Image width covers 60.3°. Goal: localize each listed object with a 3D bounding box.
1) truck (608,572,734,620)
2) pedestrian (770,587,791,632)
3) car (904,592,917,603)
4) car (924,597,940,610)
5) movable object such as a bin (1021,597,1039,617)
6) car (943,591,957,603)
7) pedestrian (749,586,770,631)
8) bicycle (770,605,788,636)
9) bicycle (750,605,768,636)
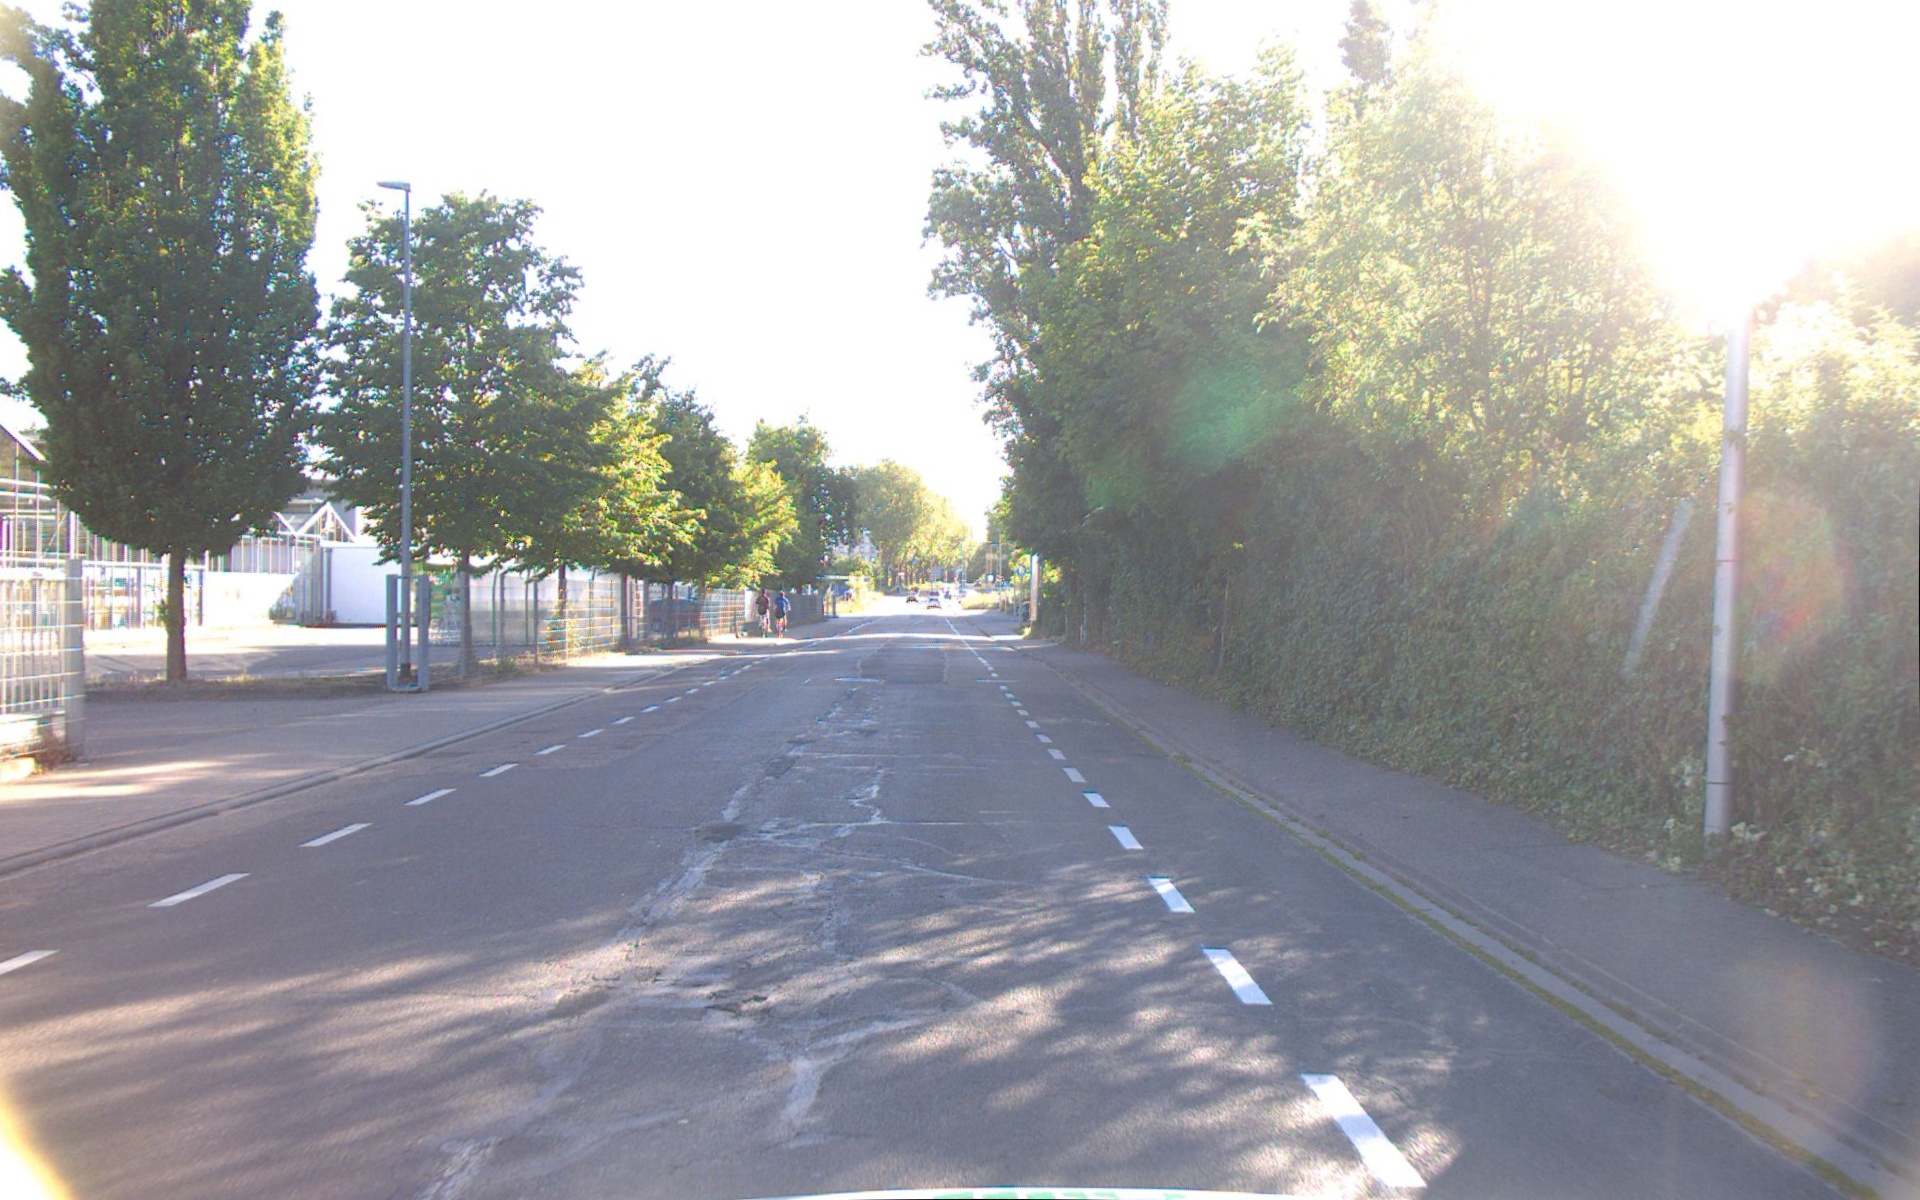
[{"bbox_3d":[-23.890,-0.293,137.206,9.895,3.678,2.774,1,-1,-2],"label":"truck"},{"bbox_3d":[-7.027,0.366,64.686,0.706,1.751,1.057,0,0,-1],"label":"pedestrian"},{"bbox_3d":[-7.176,-0.362,240.218,1.706,1.552,4.109,0,0,-3],"label":"car"},{"bbox_3d":[-3.354,0.383,197.060,1.753,1.445,4.001,1,1,1],"label":"car"},{"bbox_3d":[4.948,0.521,117.012,1.106,1.396,1.345,0,0,-2],"label":"movable object such as a bin"},{"bbox_3d":[-1.573,-0.474,257.069,2.120,1.713,3.998,0,0,-3],"label":"car"},{"bbox_3d":[-7.851,0.317,64.909,0.706,1.751,1.057,0,0,-1],"label":"pedestrian"},{"bbox_3d":[-7.062,0.794,64.579,0.437,1.168,2.200,2,0,-1],"label":"bicycle"},{"bbox_3d":[-7.859,0.807,64.613,0.460,1.168,1.869,2,0,-1],"label":"bicycle"}]
